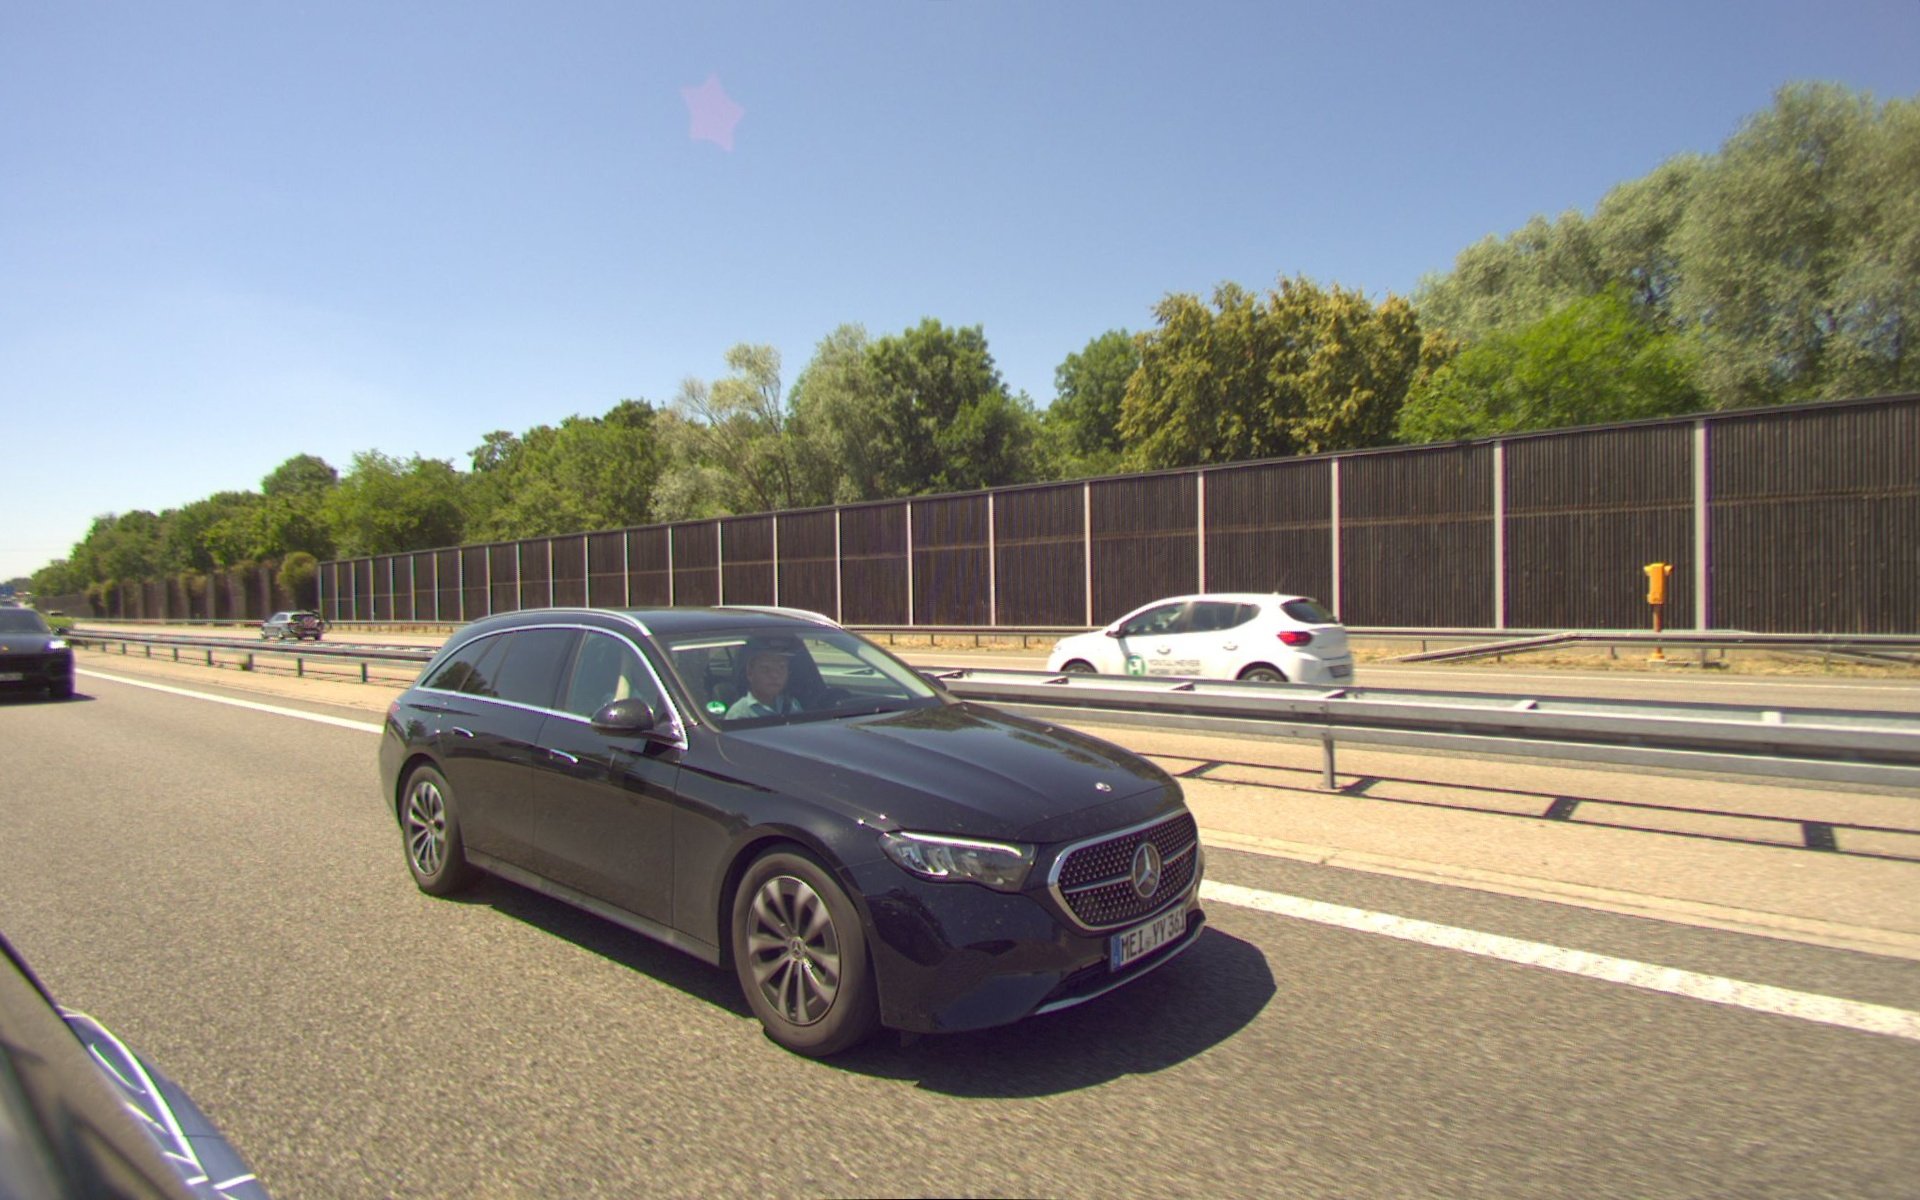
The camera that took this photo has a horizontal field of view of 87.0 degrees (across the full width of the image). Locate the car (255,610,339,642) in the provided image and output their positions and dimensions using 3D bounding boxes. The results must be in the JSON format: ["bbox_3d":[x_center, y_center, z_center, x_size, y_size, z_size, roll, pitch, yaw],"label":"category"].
[{"bbox_3d":[-33.807,1.306,51.519,5.980,1.534,2.102,-1,0,42],"label":"car"}]

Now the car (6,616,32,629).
[{"bbox_3d":[-122.967,2.904,132.216,5.583,1.656,1.973,-1,0,41],"label":"car"}]

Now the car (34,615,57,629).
[{"bbox_3d":[-132.956,3.187,147.109,5.385,2.029,1.972,-1,0,43],"label":"car"}]

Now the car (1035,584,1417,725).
[{"bbox_3d":[3.309,0.615,13.121,4.416,1.532,1.879,-1,0,41],"label":"car"}]

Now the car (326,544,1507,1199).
[{"bbox_3d":[-0.868,0.668,4.785,5.816,1.518,1.924,-1,0,40],"label":"car"}]

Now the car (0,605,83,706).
[{"bbox_3d":[-17.882,0.945,18.439,5.767,1.637,2.023,-1,0,40],"label":"car"}]
